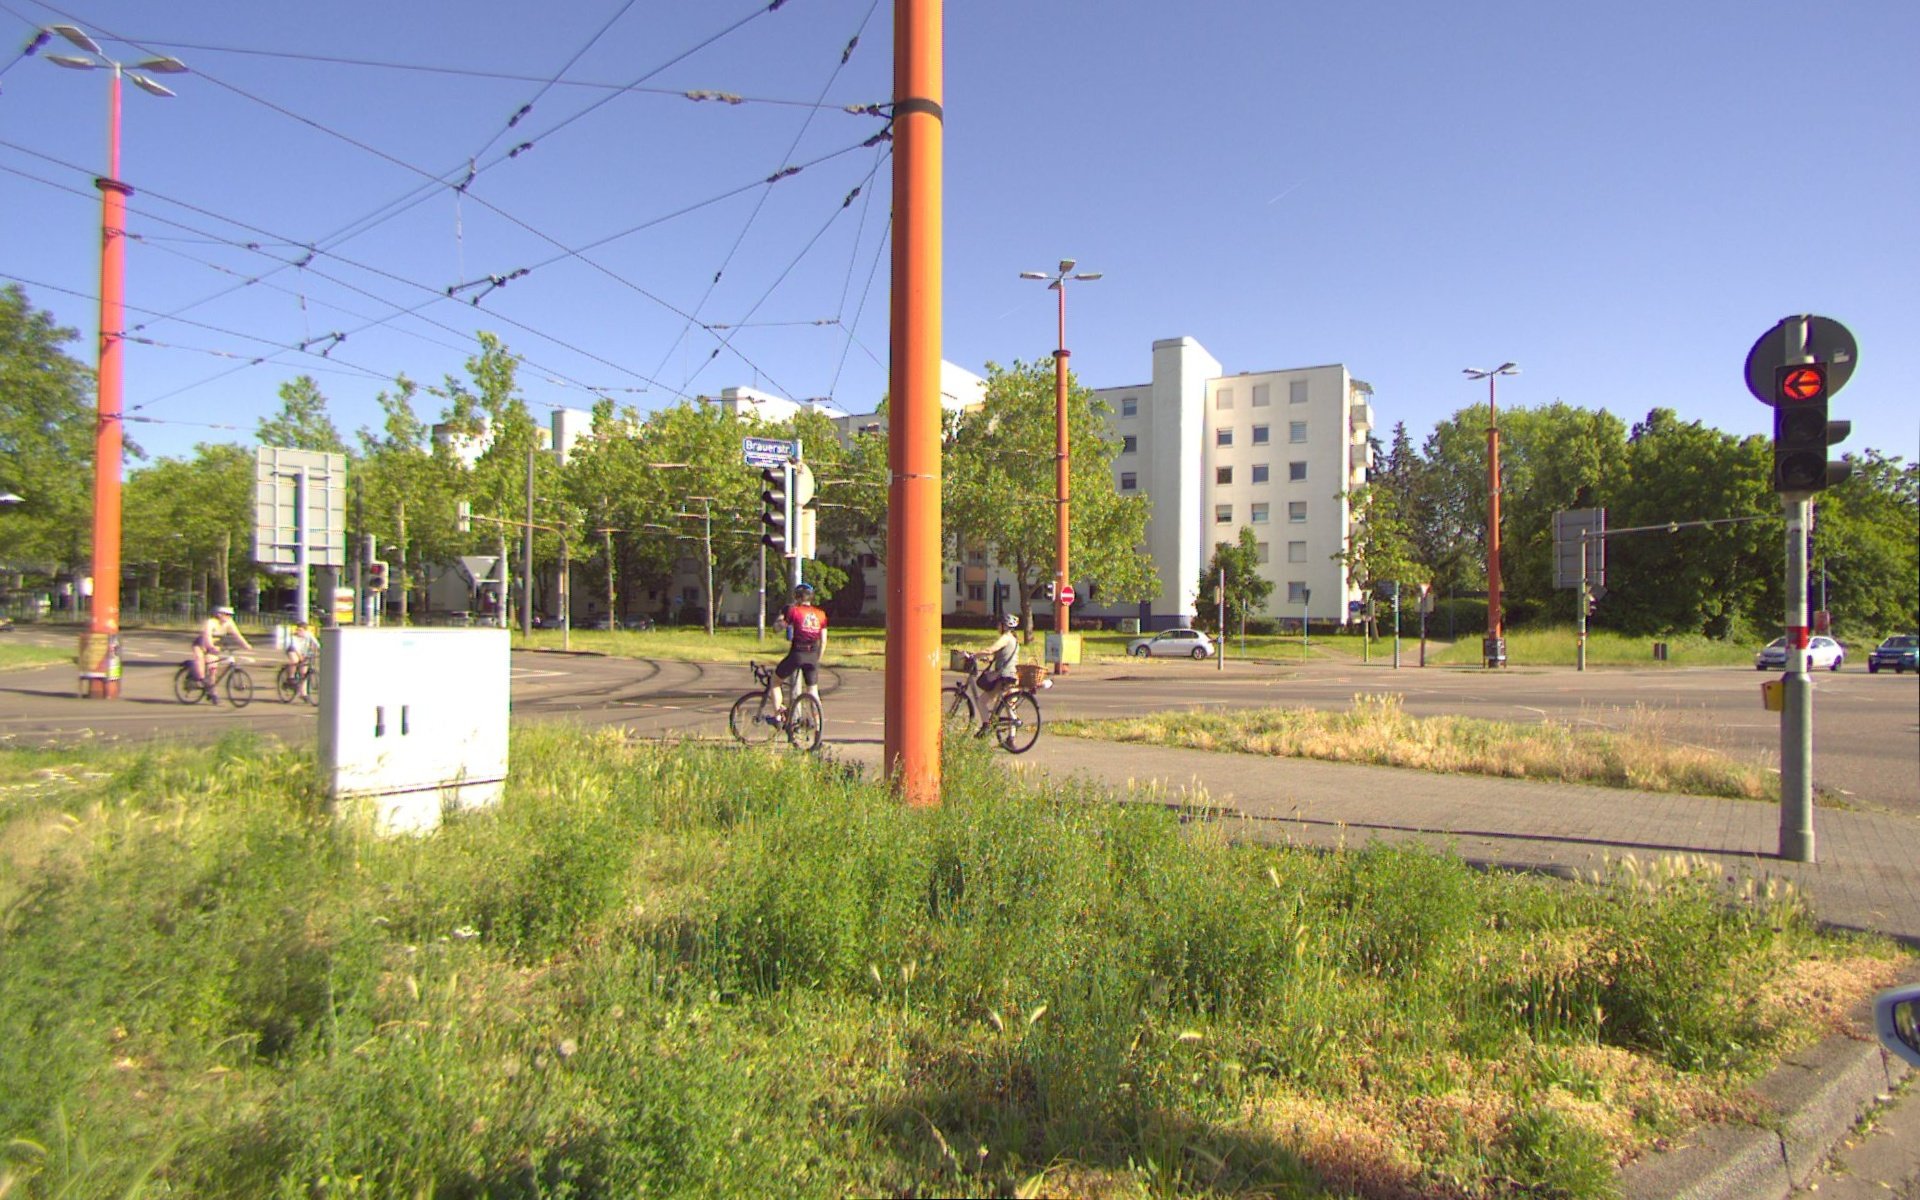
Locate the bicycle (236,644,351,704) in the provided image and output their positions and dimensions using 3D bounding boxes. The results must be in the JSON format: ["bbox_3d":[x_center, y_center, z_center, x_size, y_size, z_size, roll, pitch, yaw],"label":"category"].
[{"bbox_3d":[-13.243,1.446,19.978,1.849,1.102,0.928,0,-1,18],"label":"bicycle"}]

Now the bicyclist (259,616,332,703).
[{"bbox_3d":[-13.204,1.165,19.966,0.726,1.659,0.934,0,-1,18],"label":"bicyclist"}]

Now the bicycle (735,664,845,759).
[{"bbox_3d":[-2.107,1.309,12.234,0.915,0.976,1.747,1,-1,-24],"label":"bicycle"}]

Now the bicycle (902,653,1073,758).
[{"bbox_3d":[0.323,1.228,12.119,1.855,1.102,0.925,0,-1,34],"label":"bicycle"}]

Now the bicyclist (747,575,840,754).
[{"bbox_3d":[-1.997,0.747,12.004,0.921,2.040,0.736,1,-1,-25],"label":"bicyclist"}]

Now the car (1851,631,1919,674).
[{"bbox_3d":[37.275,2.036,39.865,4.079,1.594,1.981,2,-1,-35],"label":"car"}]

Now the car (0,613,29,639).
[{"bbox_3d":[-61.353,1.656,64.383,3.848,1.615,1.935,0,-2,39],"label":"car"}]

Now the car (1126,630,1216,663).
[{"bbox_3d":[10.102,2.222,48.114,4.136,1.471,1.800,0,-1,12],"label":"car"}]

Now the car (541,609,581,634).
[{"bbox_3d":[-31.187,1.683,78.675,1.963,1.840,3.995,1,-1,-8],"label":"car"}]

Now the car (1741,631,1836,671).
[{"bbox_3d":[35.151,2.149,42.606,4.075,1.594,1.983,1,-1,-32],"label":"car"}]

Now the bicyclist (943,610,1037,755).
[{"bbox_3d":[0.367,0.958,12.095,0.728,1.659,0.931,0,-1,35],"label":"bicyclist"}]

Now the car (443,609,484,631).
[{"bbox_3d":[-42.669,1.708,86.444,1.963,1.840,3.995,1,-1,-8],"label":"car"}]

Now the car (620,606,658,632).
[{"bbox_3d":[-23.398,1.405,73.414,1.963,1.840,3.995,1,-1,-8],"label":"car"}]

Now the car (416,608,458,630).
[{"bbox_3d":[-46.018,1.685,88.472,1.963,1.840,3.995,1,-1,-8],"label":"car"}]

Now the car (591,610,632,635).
[{"bbox_3d":[-26.104,1.693,75.326,1.962,1.840,3.997,1,-1,-5],"label":"car"}]

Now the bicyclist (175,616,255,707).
[{"bbox_3d":[-13.994,1.137,18.894,0.726,1.659,0.934,0,-1,18],"label":"bicyclist"}]

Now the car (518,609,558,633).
[{"bbox_3d":[-33.803,1.678,80.524,1.963,1.840,3.995,1,-1,-8],"label":"car"}]

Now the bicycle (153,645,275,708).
[{"bbox_3d":[-14.020,1.415,18.893,1.849,1.102,0.928,0,-1,18],"label":"bicycle"}]

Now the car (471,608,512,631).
[{"bbox_3d":[-39.279,1.650,84.322,1.963,1.840,3.995,1,-1,-8],"label":"car"}]
